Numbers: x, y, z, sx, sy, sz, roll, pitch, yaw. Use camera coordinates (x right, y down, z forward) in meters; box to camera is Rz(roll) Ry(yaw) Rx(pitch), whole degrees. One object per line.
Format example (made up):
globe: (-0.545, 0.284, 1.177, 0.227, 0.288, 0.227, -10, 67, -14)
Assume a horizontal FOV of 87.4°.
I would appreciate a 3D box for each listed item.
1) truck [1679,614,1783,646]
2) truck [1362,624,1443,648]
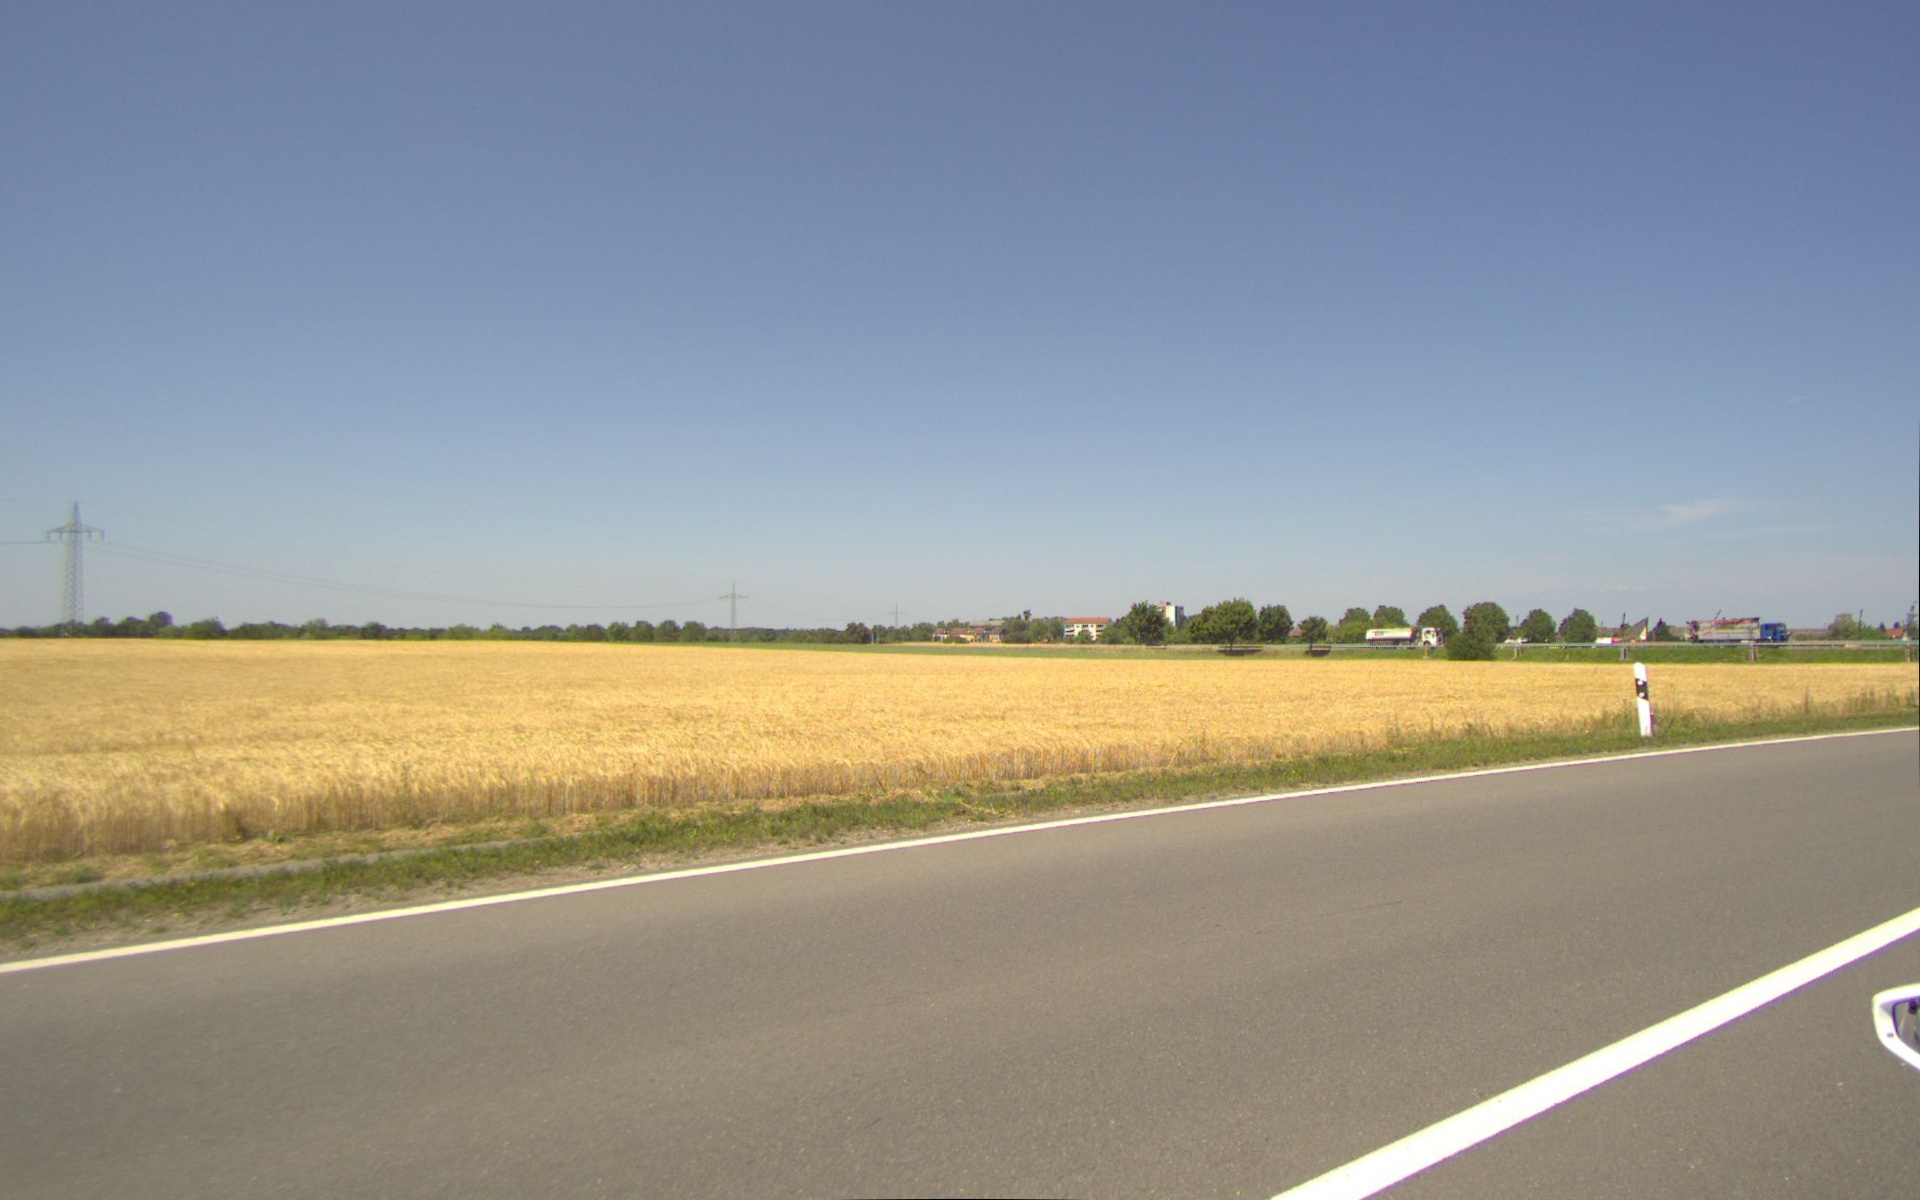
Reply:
truck: (95.622, 3.680, 124.840, 2.597, 3.843, 10.026, 1, -1, -32)
truck: (71.227, 5.741, 162.037, 2.959, 3.662, 11.888, 1, -1, -40)
